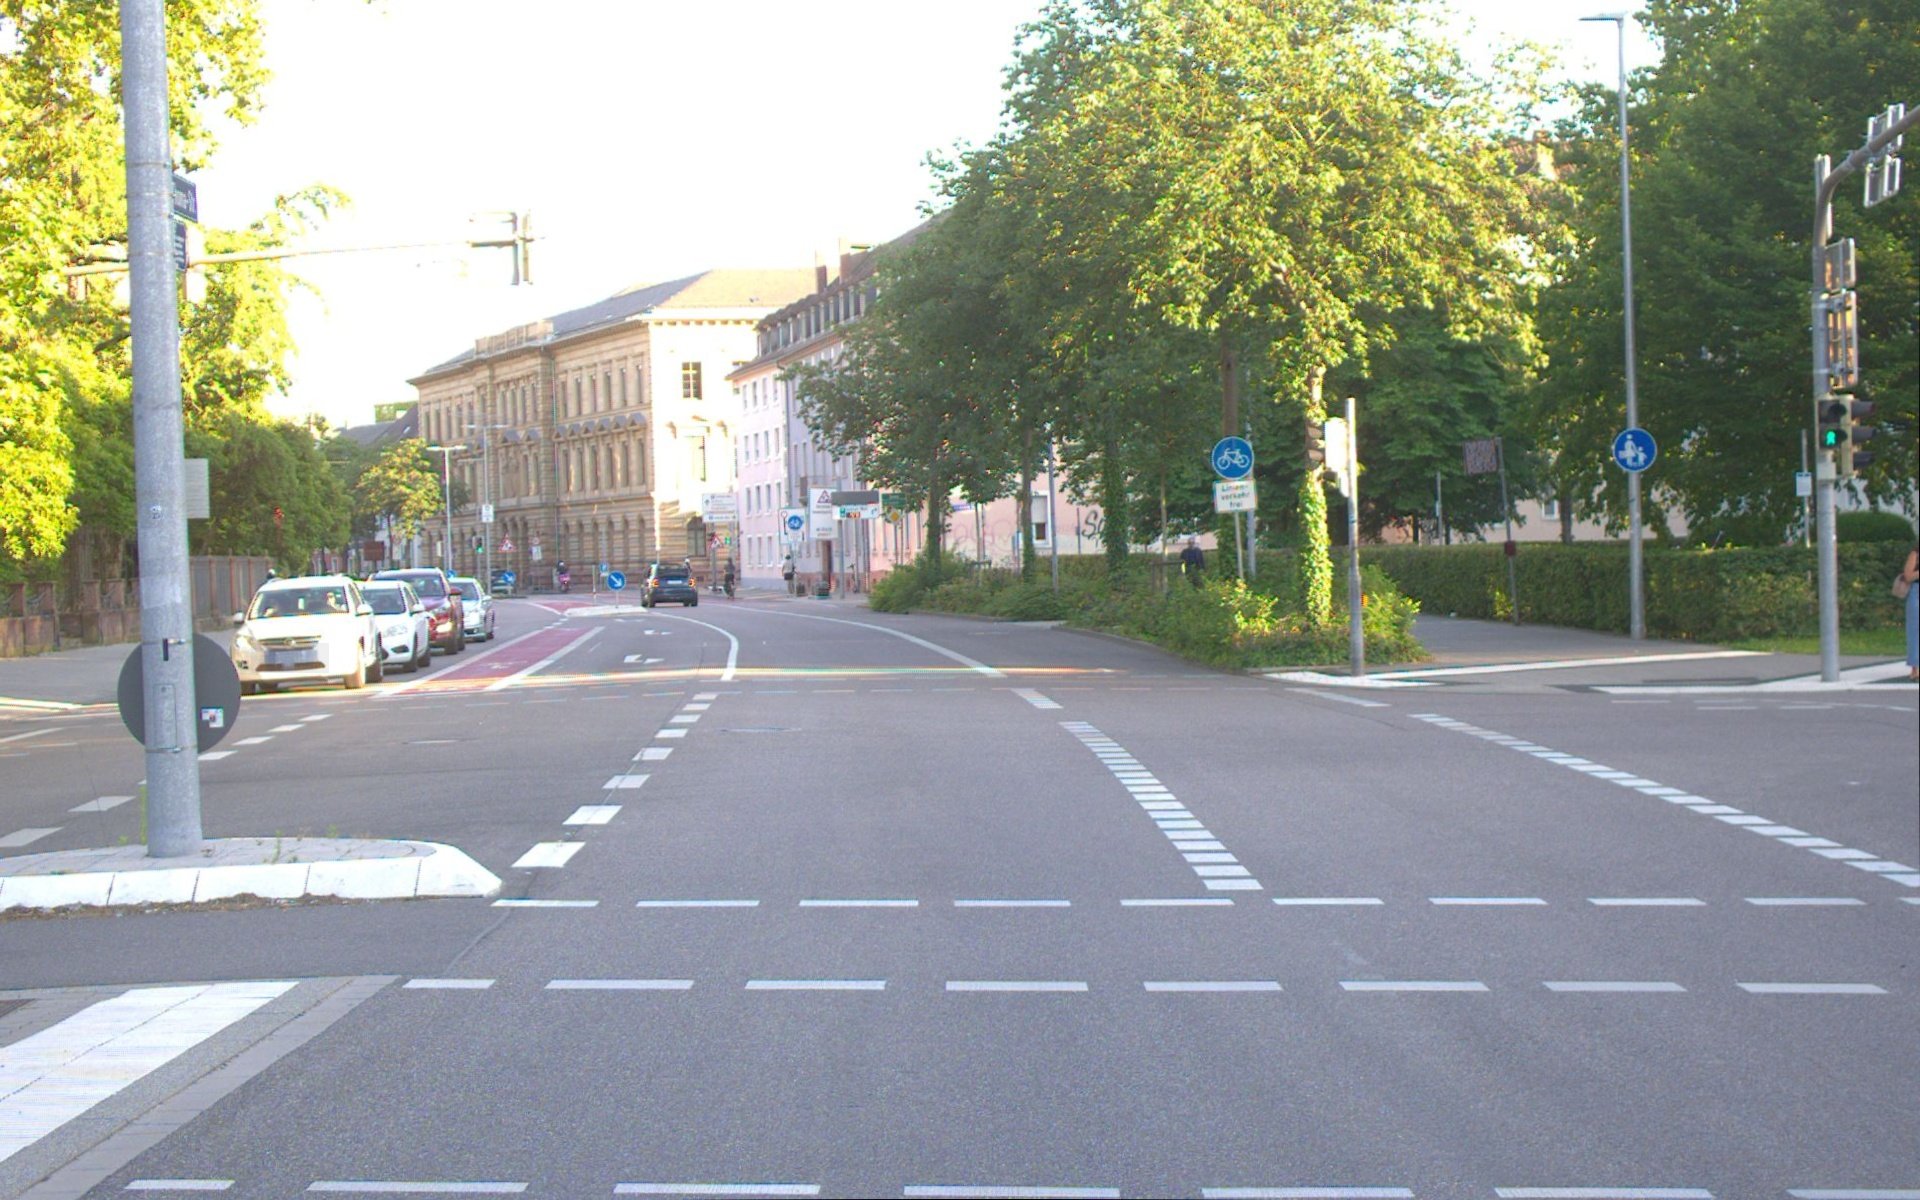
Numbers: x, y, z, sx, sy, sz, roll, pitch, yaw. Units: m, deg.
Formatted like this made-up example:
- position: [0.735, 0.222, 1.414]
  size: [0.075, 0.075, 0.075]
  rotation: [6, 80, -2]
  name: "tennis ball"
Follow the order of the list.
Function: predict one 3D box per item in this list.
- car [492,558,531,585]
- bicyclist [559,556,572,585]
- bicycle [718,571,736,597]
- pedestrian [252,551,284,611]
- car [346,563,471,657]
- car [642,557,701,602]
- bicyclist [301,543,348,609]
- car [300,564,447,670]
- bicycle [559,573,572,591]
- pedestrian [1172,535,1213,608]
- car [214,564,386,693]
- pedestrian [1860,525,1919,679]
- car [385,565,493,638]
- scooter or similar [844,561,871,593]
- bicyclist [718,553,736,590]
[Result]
- position: [-26.228, -1.663, 200.860]
  size: [1.916, 1.413, 4.771]
  rotation: [-4, 1, -10]
  name: "car"
- position: [-22.830, -1.722, 198.872]
  size: [0.652, 1.692, 0.957]
  rotation: [1, 0, -9]
  name: "bicyclist"
- position: [-9.330, -0.647, 137.522]
  size: [0.652, 1.012, 2.198]
  rotation: [1, 1, -5]
  name: "bicycle"
- position: [-18.965, -0.523, 94.213]
  size: [0.681, 1.617, 0.688]
  rotation: [-2, 1, -1]
  name: "pedestrian"
- position: [-10.492, 0.156, 65.652]
  size: [1.916, 1.619, 4.640]
  rotation: [-3, 1, -5]
  name: "car"
- position: [-9.974, -0.719, 118.958]
  size: [1.867, 1.505, 4.000]
  rotation: [-1, 0, -3]
  name: "car"
- position: [-14.069, -0.544, 76.127]
  size: [0.855, 1.426, 0.943]
  rotation: [-1, 1, 0]
  name: "bicyclist"
- position: [-9.715, 0.247, 57.233]
  size: [1.916, 1.578, 4.675]
  rotation: [-3, 1, -5]
  name: "car"
- position: [-22.838, -1.048, 198.880]
  size: [0.652, 1.012, 2.198]
  rotation: [1, 1, -9]
  name: "bicycle"
- position: [5.557, -0.686, 82.308]
  size: [0.769, 1.733, 0.807]
  rotation: [-2, 1, -10]
  name: "pedestrian"
- position: [-9.608, 0.376, 50.358]
  size: [1.916, 1.690, 4.427]
  rotation: [-3, 1, -5]
  name: "car"
- position: [10.132, 0.011, 36.901]
  size: [0.681, 1.616, 0.845]
  rotation: [-2, 1, -1]
  name: "pedestrian"
- position: [-11.321, 0.016, 74.993]
  size: [1.916, 1.413, 4.771]
  rotation: [-3, 1, -5]
  name: "car"
- position: [-4.337, -0.987, 145.351]
  size: [0.629, 1.332, 2.401]
  rotation: [-1, 1, -14]
  name: "scooter or similar"
- position: [-9.326, -1.130, 137.515]
  size: [0.652, 1.470, 0.941]
  rotation: [1, 0, -5]
  name: "bicyclist"
